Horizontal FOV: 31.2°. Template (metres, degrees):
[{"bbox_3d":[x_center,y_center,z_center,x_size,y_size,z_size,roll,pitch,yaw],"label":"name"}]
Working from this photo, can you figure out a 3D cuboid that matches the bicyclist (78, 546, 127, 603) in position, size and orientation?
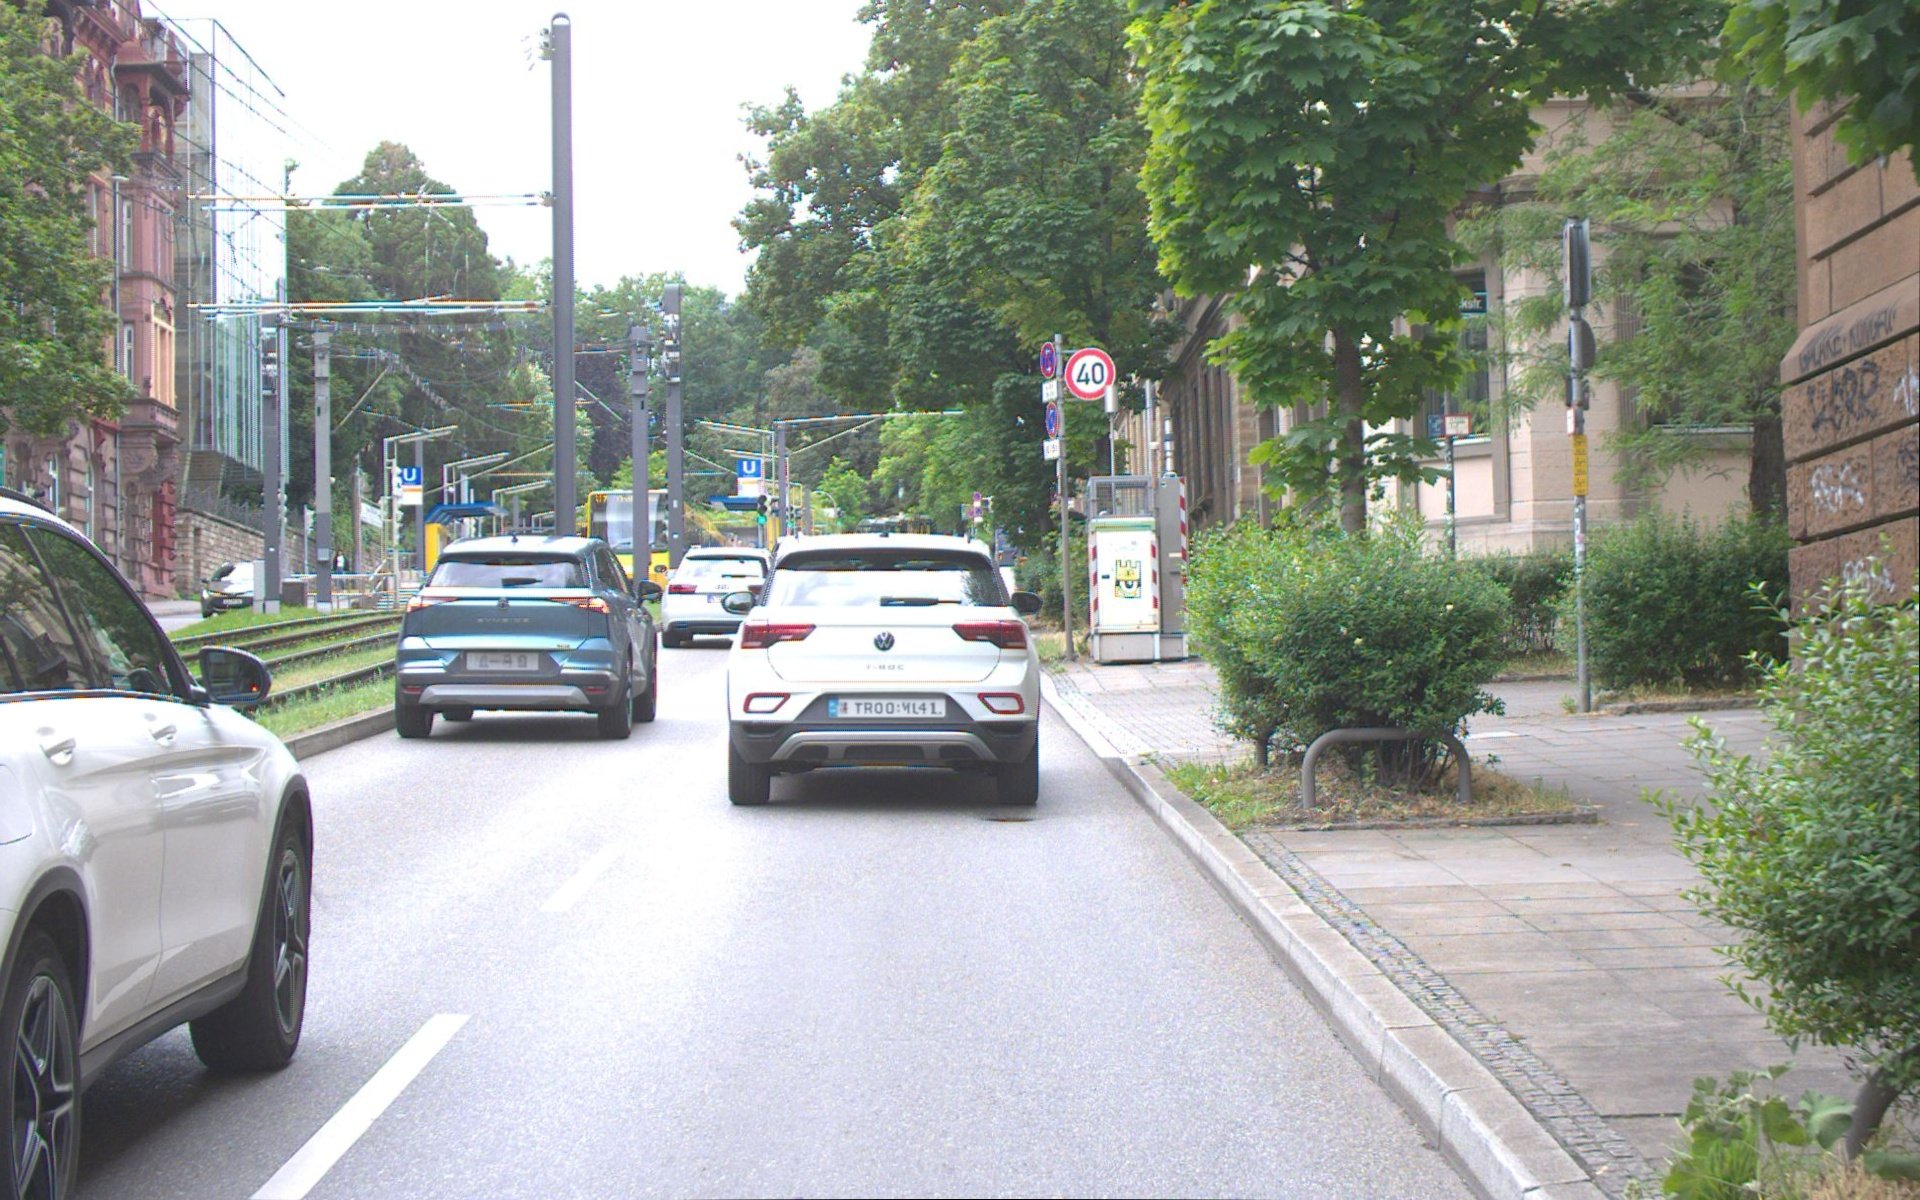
[{"bbox_3d":[-21.983,-0.663,88.168,0.938,1.420,1.188,-1,1,-1],"label":"bicyclist"}]

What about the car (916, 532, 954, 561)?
[{"bbox_3d":[-1.365,-2.915,187.785,2.068,1.541,4.193,0,1,0],"label":"car"}]

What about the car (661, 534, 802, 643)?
[{"bbox_3d":[-3.351,-0.191,51.066,1.835,1.541,4.193,0,1,0],"label":"car"}]

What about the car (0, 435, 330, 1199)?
[{"bbox_3d":[-2.763,0.497,8.147,1.835,1.661,4.671,0,1,-2],"label":"car"}]

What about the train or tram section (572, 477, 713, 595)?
[{"bbox_3d":[-9.629,-1.927,105.822,2.996,3.337,13.439,-1,1,0],"label":"train or tram section"}]

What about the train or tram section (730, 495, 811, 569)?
[{"bbox_3d":[-8.922,-3.177,163.677,2.996,3.337,13.439,-1,1,0],"label":"train or tram section"}]

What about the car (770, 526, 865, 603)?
[{"bbox_3d":[-2.948,-0.744,71.930,1.835,1.541,4.193,0,1,0],"label":"car"}]

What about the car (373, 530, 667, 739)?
[{"bbox_3d":[-3.448,0.233,27.638,1.835,1.541,4.193,0,1,0],"label":"car"}]

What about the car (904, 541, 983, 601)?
[{"bbox_3d":[-0.444,-0.785,92.472,2.068,1.541,4.193,0,1,0],"label":"car"}]

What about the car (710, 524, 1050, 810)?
[{"bbox_3d":[-0.493,0.341,20.787,1.835,1.541,4.194,0,1,-2],"label":"car"}]

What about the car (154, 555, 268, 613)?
[{"bbox_3d":[-18.952,-0.416,87.137,1.993,1.398,4.000,-1,1,0],"label":"car"}]

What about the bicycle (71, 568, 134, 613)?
[{"bbox_3d":[-21.974,-0.257,88.130,0.938,1.096,2.703,-1,1,-1],"label":"bicycle"}]

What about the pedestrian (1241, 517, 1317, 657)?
[{"bbox_3d":[3.851,-0.164,41.440,0.710,1.657,1.126,-1,1,14],"label":"pedestrian"}]

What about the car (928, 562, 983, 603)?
[{"bbox_3d":[-0.187,-0.700,133.127,2.068,1.541,4.193,0,1,0],"label":"car"}]
